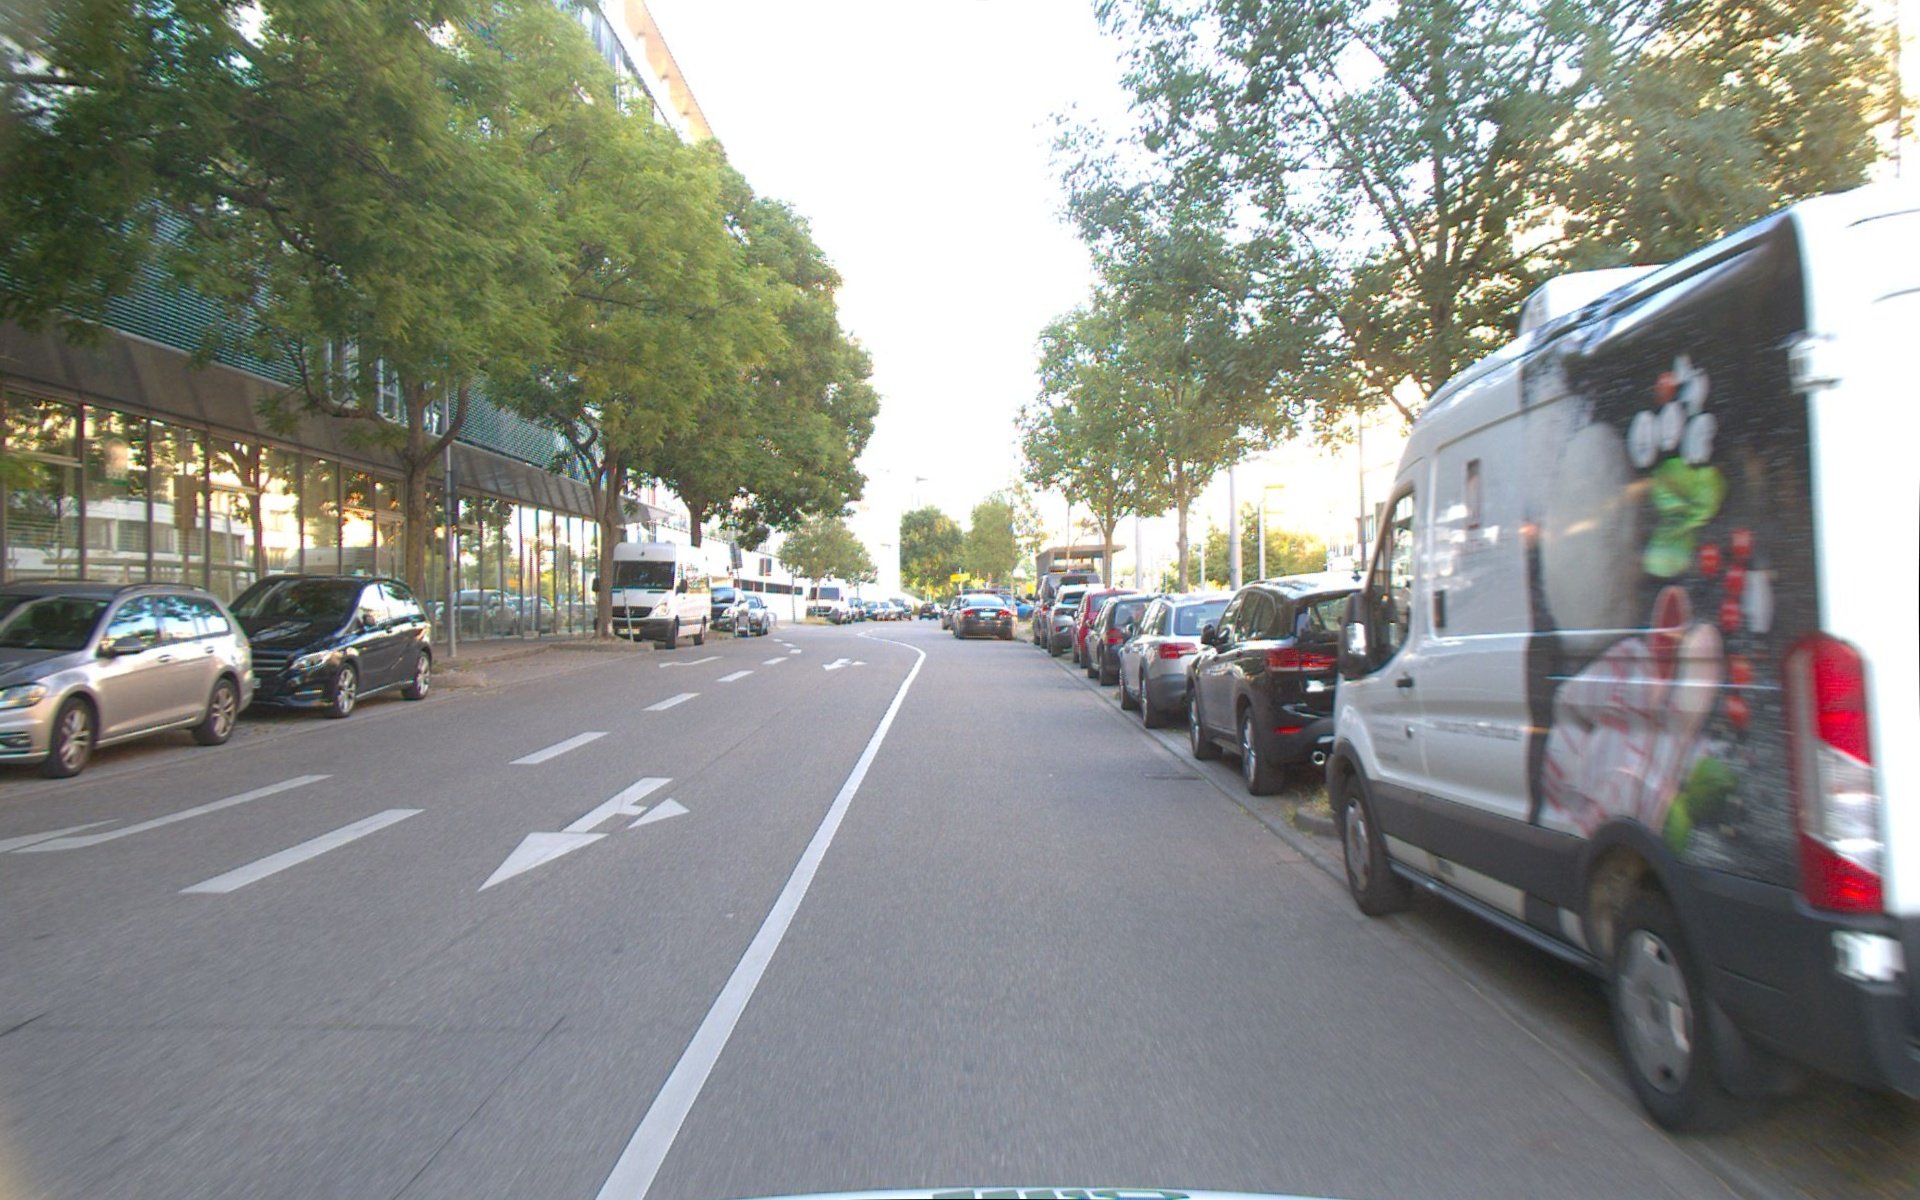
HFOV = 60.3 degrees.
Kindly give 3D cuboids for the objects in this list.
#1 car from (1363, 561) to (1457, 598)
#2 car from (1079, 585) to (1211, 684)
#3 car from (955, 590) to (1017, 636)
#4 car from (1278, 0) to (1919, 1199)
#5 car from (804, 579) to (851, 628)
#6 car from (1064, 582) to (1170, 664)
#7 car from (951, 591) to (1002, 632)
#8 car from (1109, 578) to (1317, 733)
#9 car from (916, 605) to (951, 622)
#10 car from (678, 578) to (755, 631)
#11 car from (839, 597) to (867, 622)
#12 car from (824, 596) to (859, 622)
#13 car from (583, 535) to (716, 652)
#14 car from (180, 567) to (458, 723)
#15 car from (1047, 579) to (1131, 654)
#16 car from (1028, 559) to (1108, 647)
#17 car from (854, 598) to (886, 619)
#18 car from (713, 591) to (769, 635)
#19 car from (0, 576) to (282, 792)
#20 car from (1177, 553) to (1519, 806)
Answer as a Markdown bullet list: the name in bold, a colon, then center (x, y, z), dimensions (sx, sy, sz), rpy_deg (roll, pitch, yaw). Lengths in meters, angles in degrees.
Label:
- **car**: center (21.144, -0.975, 77.848), dimensions (3.905, 1.513, 1.675), rpy_deg (-3, 0, 0)
- **car**: center (3.040, 0.538, 27.935), dimensions (1.673, 1.477, 3.999), rpy_deg (-2, 0, -1)
- **car**: center (0.831, 0.413, 55.606), dimensions (1.751, 1.477, 4.512), rpy_deg (0, 0, -3)
- **car**: center (2.851, 0.030, 6.110), dimensions (2.010, 2.703, 5.432), rpy_deg (-4, 0, -2)
- **car**: center (-7.543, 0.179, 94.875), dimensions (1.918, 2.662, 6.894), rpy_deg (1, 0, 1)
- **car**: center (3.183, 0.441, 34.163), dimensions (1.673, 1.519, 4.130), rpy_deg (-2, 0, -1)
- **car**: center (0.572, 0.419, 61.558), dimensions (1.642, 1.477, 4.185), rpy_deg (0, 0, -3)
- **car**: center (2.890, 0.572, 19.886), dimensions (1.759, 1.522, 4.781), rpy_deg (-4, 0, 1)
- **car**: center (-2.303, 1.181, 145.538), dimensions (1.903, 1.407, 4.402), rpy_deg (2, 0, 16)
- **car**: center (-7.716, 0.124, 52.812), dimensions (1.806, 1.599, 4.267), rpy_deg (0, 0, 0)
- **car**: center (-7.497, 0.664, 115.874), dimensions (1.720, 1.682, 3.948), rpy_deg (1, 0, -1)
- **car**: center (-7.255, 0.533, 101.304), dimensions (1.719, 1.465, 3.902), rpy_deg (1, 0, 1)
- **car**: center (-7.734, -0.178, 41.989), dimensions (2.057, 2.710, 6.951), rpy_deg (0, 0, 0)
- **car**: center (-7.507, 0.462, 19.858), dimensions (1.557, 1.596, 4.471), rpy_deg (2, 0, 0)
- **car**: center (3.011, 0.371, 39.357), dimensions (1.672, 1.608, 4.479), rpy_deg (-2, 0, 1)
- **car**: center (2.927, 0.075, 45.686), dimensions (1.767, 2.214, 4.735), rpy_deg (-2, 0, -1)
- **car**: center (-6.765, 0.623, 124.497), dimensions (1.686, 1.483, 4.274), rpy_deg (1, 0, 6)
- **car**: center (-7.654, 0.427, 58.054), dimensions (1.681, 1.477, 4.395), rpy_deg (0, 0, -4)
- **car**: center (-7.583, 0.573, 14.097), dimensions (1.668, 1.487, 4.626), rpy_deg (2, 0, 0)
- **car**: center (2.952, 0.543, 13.501), dimensions (1.673, 1.672, 4.266), rpy_deg (-2, 0, -1)
